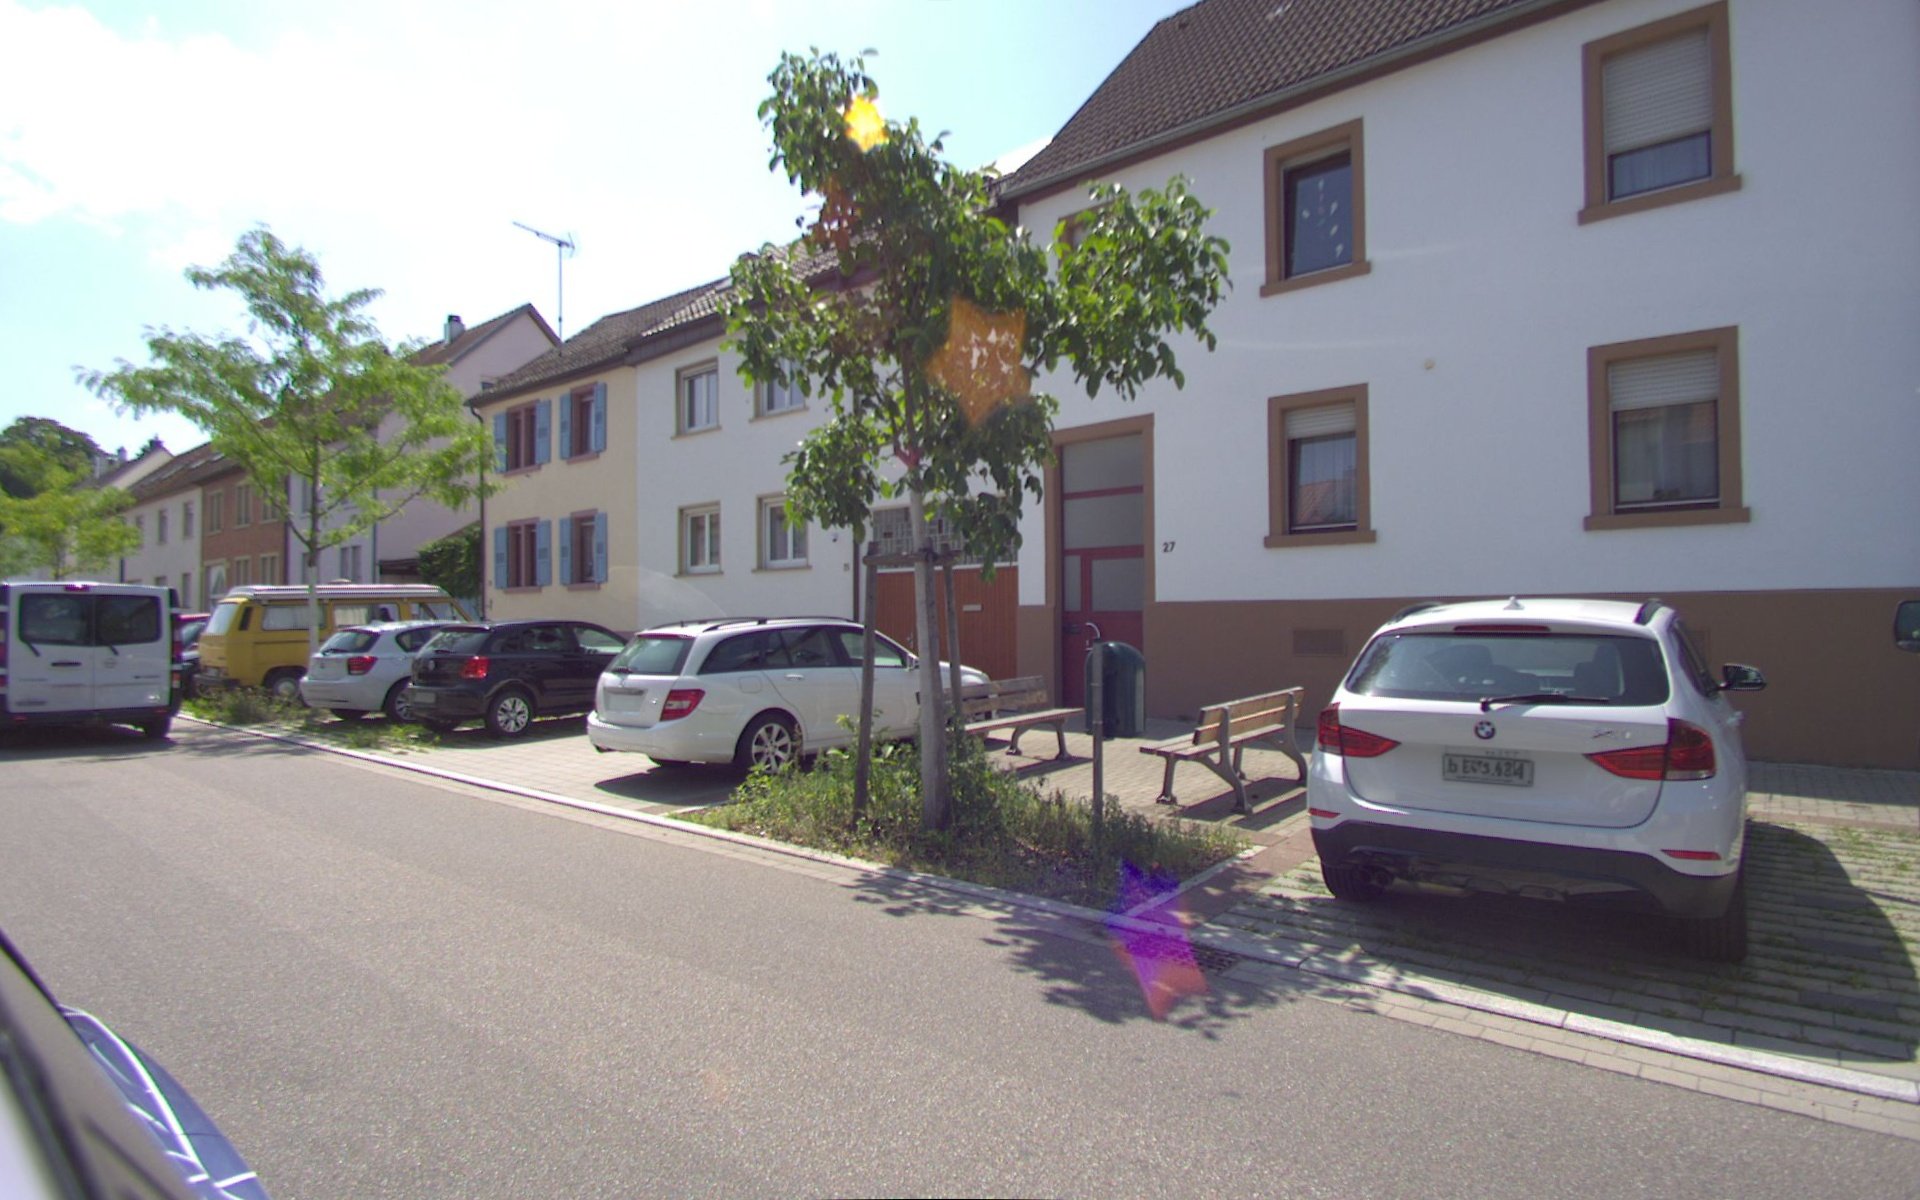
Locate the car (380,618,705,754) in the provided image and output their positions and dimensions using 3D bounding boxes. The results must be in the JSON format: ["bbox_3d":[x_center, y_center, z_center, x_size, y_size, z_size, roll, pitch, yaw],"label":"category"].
[{"bbox_3d":[-5.441,1.019,13.664,1.653,1.479,3.850,-1,0,31],"label":"car"}]

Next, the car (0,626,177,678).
[{"bbox_3d":[-27.587,1.583,31.766,1.794,1.436,4.479,-1,0,39],"label":"car"}]

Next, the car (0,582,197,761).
[{"bbox_3d":[-11.955,0.818,13.261,4.893,1.965,2.003,-1,-1,39],"label":"car"}]

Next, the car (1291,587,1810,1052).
[{"bbox_3d":[3.419,0.739,5.684,1.770,1.580,4.146,-1,0,36],"label":"car"}]

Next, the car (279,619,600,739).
[{"bbox_3d":[-7.702,1.077,15.366,1.747,1.479,4.041,-1,0,31],"label":"car"}]

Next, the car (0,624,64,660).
[{"bbox_3d":[-42.239,1.877,44.670,1.772,1.500,3.875,-1,0,41],"label":"car"}]

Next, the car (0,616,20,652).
[{"bbox_3d":[-53.036,1.852,53.544,1.999,1.921,4.629,-1,1,40],"label":"car"}]

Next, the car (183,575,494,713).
[{"bbox_3d":[-11.185,0.698,18.484,1.923,2.194,4.463,-1,0,40],"label":"car"}]

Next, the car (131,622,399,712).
[{"bbox_3d":[-13.347,1.207,19.629,1.754,1.470,3.970,-1,0,40],"label":"car"}]

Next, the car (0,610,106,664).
[{"bbox_3d":[-36.818,1.447,39.934,1.952,2.011,4.564,-1,0,41],"label":"car"}]

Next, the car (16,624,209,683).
[{"bbox_3d":[-24.451,1.478,29.312,1.773,1.489,4.016,-1,0,37],"label":"car"}]

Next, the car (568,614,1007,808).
[{"bbox_3d":[-1.540,0.924,10.312,1.773,1.479,4.250,-1,0,41],"label":"car"}]
